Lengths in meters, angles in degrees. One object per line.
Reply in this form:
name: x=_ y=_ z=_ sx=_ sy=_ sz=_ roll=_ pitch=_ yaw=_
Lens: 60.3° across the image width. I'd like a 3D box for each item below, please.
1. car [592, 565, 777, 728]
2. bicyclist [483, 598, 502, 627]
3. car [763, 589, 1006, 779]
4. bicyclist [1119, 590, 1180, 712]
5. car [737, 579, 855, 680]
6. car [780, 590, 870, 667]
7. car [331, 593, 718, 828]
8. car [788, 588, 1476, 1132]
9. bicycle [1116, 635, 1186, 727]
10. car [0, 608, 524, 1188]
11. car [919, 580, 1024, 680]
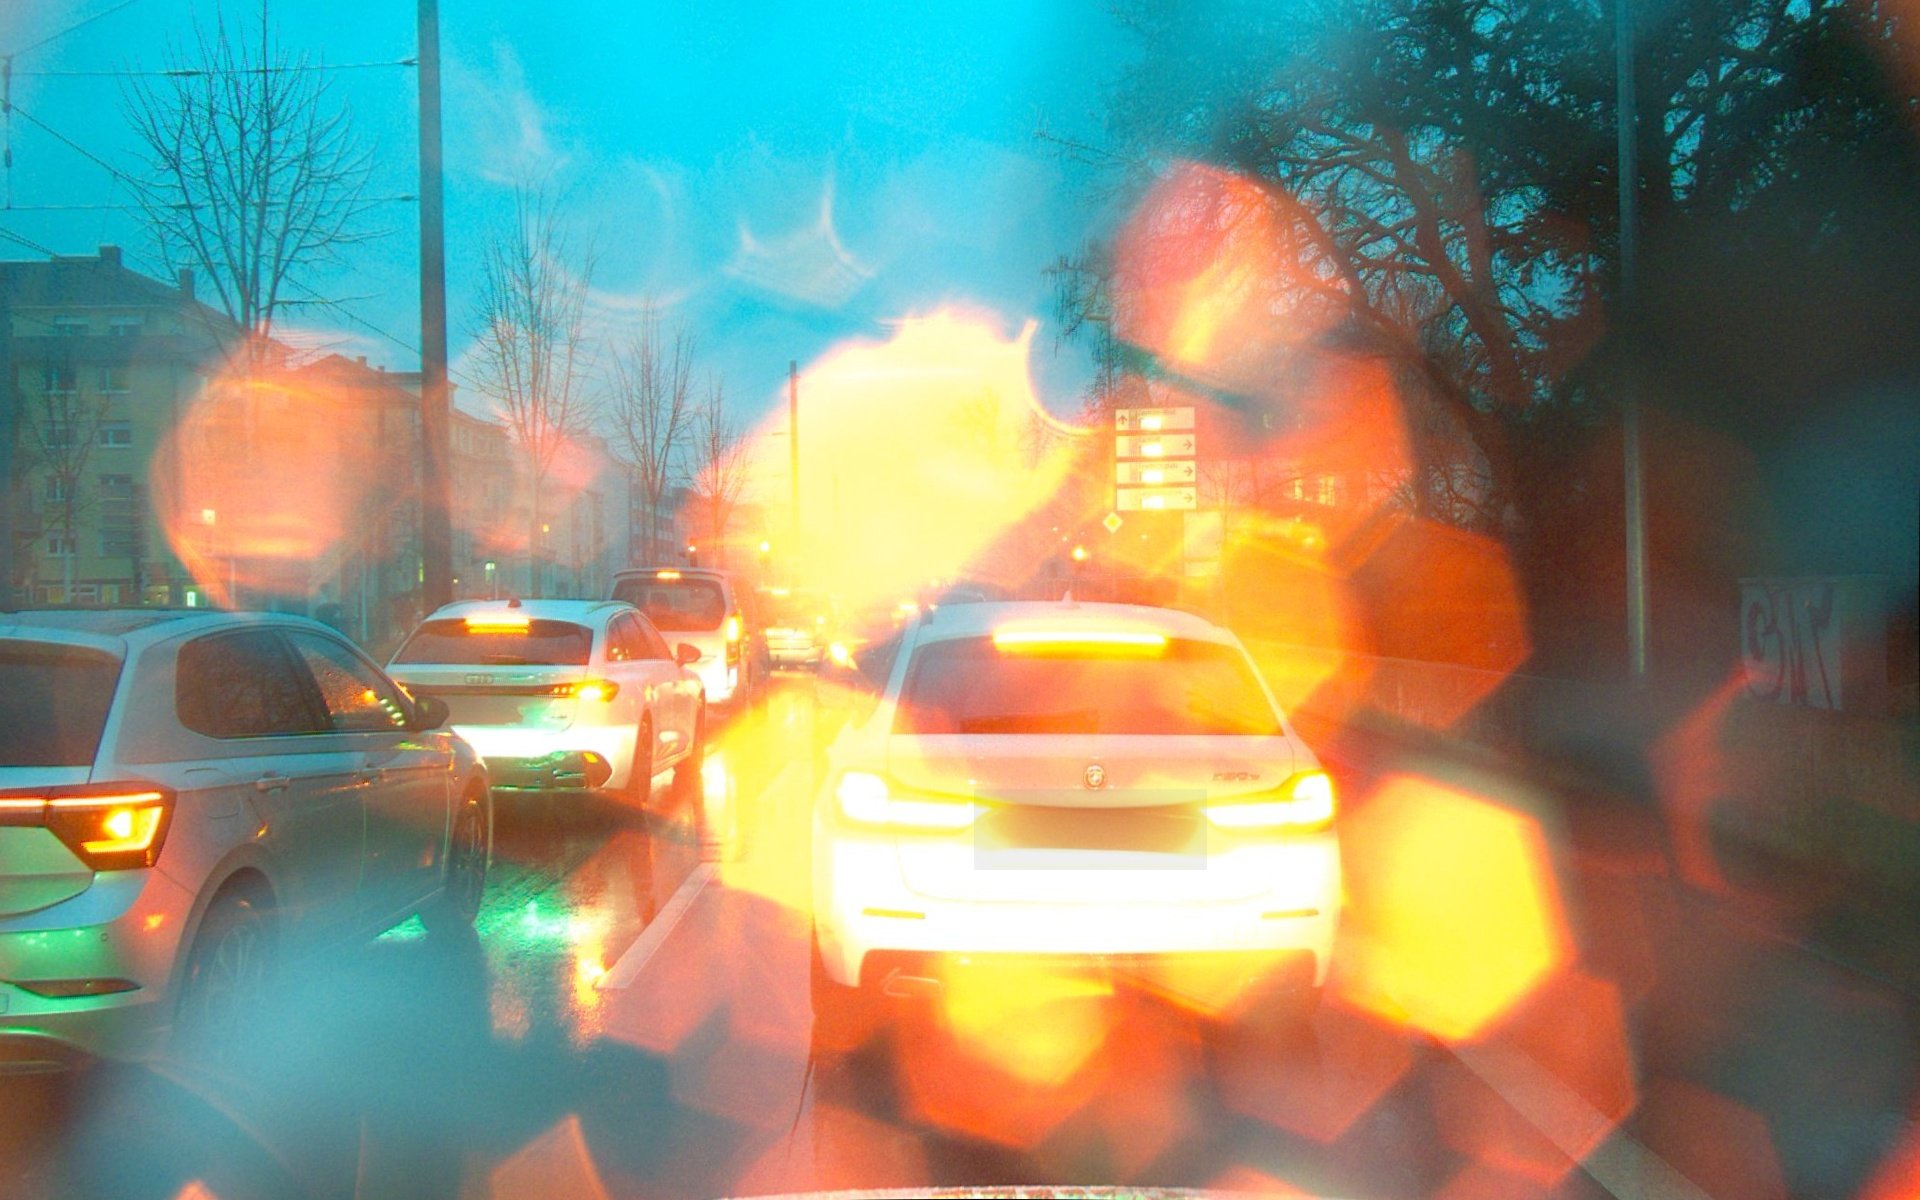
car: x=-3.257 y=0.511 z=20.328 sx=1.758 sy=1.766 sz=4.534 roll=0 pitch=0 yaw=-3
bicyclist: x=-25.580 y=0.684 z=90.469 sx=0.627 sy=1.607 sz=0.785 roll=0 pitch=-1 yaw=45
car: x=-0.619 y=0.643 z=15.016 sx=1.896 sy=1.483 sz=4.162 roll=0 pitch=0 yaw=-1
bicyclist: x=2.263 y=0.597 z=19.858 sx=0.632 sy=1.413 sz=0.890 roll=-1 pitch=0 yaw=1
car: x=-2.875 y=0.483 z=29.743 sx=1.770 sy=1.674 sz=3.999 roll=0 pitch=0 yaw=-1
car: x=-3.043 y=0.602 z=38.007 sx=1.770 sy=1.674 sz=3.999 roll=0 pitch=0 yaw=-1
car: x=-2.997 y=0.683 z=12.425 sx=1.809 sy=1.430 sz=4.612 roll=0 pitch=0 yaw=-2
car: x=0.465 y=0.723 z=6.782 sx=1.958 sy=1.534 sz=4.162 roll=0 pitch=0 yaw=-1
bicycle: x=2.270 y=0.943 z=19.833 sx=0.632 sy=0.983 sz=2.047 roll=-1 pitch=0 yaw=1
car: x=-2.927 y=0.742 z=6.023 sx=1.727 sy=1.395 sz=3.980 roll=0 pitch=0 yaw=-2
car: x=0.172 y=0.495 z=29.780 sx=1.770 sy=1.674 sz=3.999 roll=0 pitch=0 yaw=-1
